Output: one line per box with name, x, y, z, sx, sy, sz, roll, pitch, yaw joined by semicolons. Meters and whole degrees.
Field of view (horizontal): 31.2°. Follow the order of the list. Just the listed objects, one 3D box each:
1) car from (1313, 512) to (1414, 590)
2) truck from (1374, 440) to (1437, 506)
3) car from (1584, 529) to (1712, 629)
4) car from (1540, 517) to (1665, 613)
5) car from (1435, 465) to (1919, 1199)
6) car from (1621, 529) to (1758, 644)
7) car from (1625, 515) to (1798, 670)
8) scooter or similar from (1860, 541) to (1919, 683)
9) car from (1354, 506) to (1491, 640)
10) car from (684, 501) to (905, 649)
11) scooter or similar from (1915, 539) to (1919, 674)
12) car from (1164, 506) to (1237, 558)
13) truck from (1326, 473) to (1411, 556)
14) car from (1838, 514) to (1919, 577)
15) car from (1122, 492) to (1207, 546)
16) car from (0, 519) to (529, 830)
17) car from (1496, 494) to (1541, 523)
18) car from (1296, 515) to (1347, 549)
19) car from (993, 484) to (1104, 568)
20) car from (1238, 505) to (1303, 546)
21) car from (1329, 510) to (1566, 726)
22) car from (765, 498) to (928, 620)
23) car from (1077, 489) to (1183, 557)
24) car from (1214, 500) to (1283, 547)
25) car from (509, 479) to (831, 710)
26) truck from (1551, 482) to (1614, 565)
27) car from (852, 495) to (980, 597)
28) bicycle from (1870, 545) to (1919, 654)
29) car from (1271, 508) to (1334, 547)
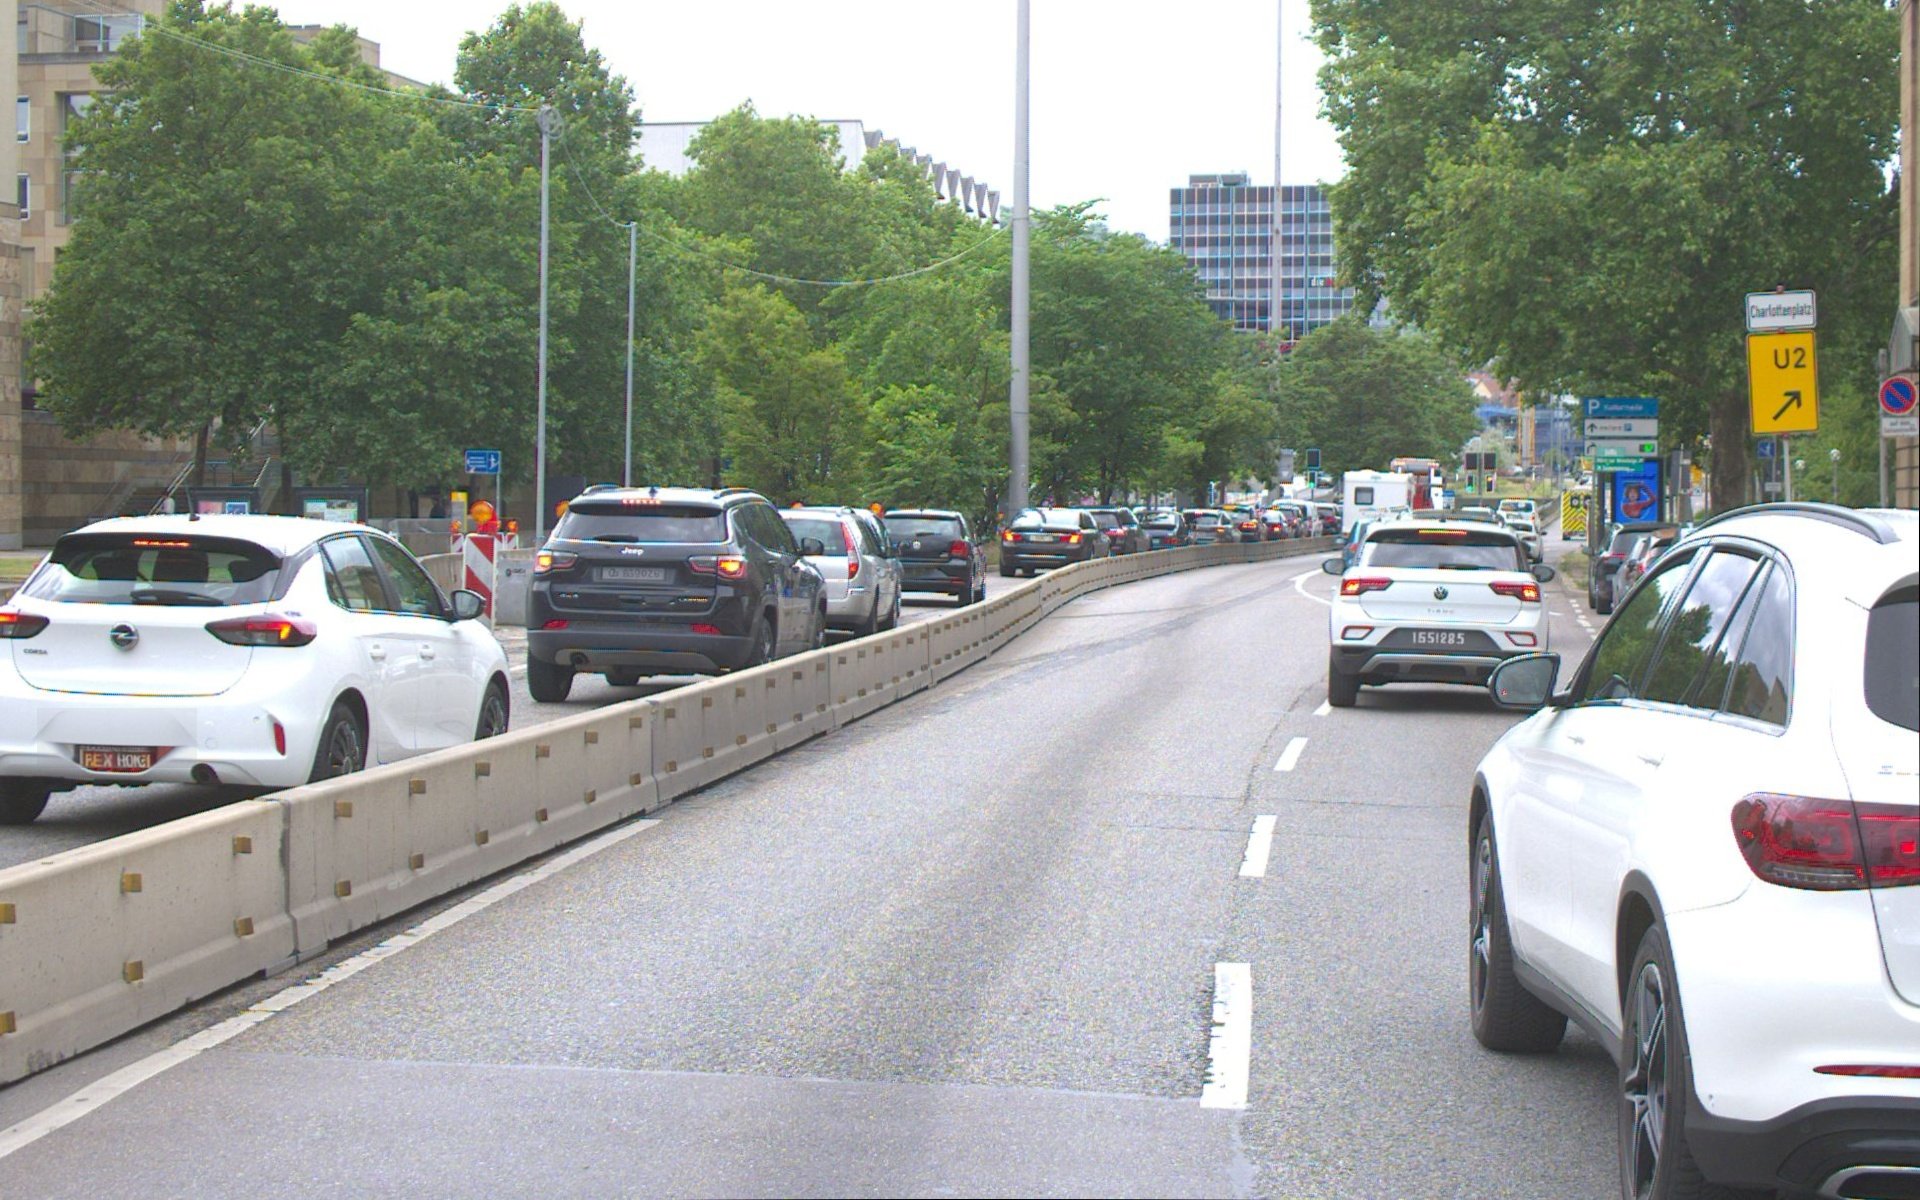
car;7.778;-0.951;66.092;1.660;1.408;3.546;2;1;10
truck;21.850;-6.202;168.415;2.693;2.981;5.636;3;1;10
car;10.131;-0.341;50.818;1.709;1.421;3.995;0;1;9
car;10.669;-0.613;57.305;1.788;1.481;4.325;2;2;8
car;2.344;0.549;8.485;1.788;1.619;4.437;3;1;2
car;9.573;-0.208;45.316;1.616;1.450;3.857;0;1;10
car;8.119;-0.123;37.366;1.546;1.546;3.707;-2;1;8
scooter or similar;8.529;0.096;31.558;0.379;1.257;1.403;1;1;10
car;6.057;-0.385;44.947;1.660;1.633;3.546;2;2;8
car;-1.758;-0.322;38.039;1.878;1.476;4.704;2;2;4
scooter or similar;9.206;0.069;31.248;0.451;1.248;1.369;1;0;-10
car;7.019;-1.972;100.114;1.662;1.431;3.959;2;1;10
truck;15.136;-3.168;127.050;2.622;2.851;7.076;3;2;10
car;24.670;-1.396;88.580;3.837;1.563;1.678;2;2;11
car;5.425;-2.154;90.629;1.679;1.362;4.541;1;2;10
car;-3.413;0.280;16.856;1.726;1.291;3.934;2;1;5
car;27.511;-4.505;169.191;1.948;1.315;4.015;2;2;12
car;14.646;-2.757;139.306;1.660;1.315;3.546;2;2;12
car;1.883;-1.557;71.642;1.924;1.630;4.936;2;2;5
car;10.522;-2.522;116.238;1.660;1.315;3.545;2;2;13
car;4.044;0.090;28.989;1.796;1.603;3.754;2;2;6
car;-1.459;-0.569;45.610;1.672;1.501;3.854;2;2;5
car;3.971;-1.799;79.787;1.817;1.494;4.767;1;2;10
car;9.087;-2.415;108.152;1.777;1.415;3.999;1;2;10
car;-2.180;-0.081;26.902;1.776;1.615;4.046;2;1;5
truck;32.059;-3.950;177.275;2.878;4.089;6.636;3;2;9
car;-0.634;-0.842;52.539;1.659;1.449;4.198;2;2;3
bicycle;10.356;-0.023;37.806;0.460;1.152;1.830;1;1;9
car;12.061;-2.547;120.919;1.660;1.315;3.545;2;2;14
